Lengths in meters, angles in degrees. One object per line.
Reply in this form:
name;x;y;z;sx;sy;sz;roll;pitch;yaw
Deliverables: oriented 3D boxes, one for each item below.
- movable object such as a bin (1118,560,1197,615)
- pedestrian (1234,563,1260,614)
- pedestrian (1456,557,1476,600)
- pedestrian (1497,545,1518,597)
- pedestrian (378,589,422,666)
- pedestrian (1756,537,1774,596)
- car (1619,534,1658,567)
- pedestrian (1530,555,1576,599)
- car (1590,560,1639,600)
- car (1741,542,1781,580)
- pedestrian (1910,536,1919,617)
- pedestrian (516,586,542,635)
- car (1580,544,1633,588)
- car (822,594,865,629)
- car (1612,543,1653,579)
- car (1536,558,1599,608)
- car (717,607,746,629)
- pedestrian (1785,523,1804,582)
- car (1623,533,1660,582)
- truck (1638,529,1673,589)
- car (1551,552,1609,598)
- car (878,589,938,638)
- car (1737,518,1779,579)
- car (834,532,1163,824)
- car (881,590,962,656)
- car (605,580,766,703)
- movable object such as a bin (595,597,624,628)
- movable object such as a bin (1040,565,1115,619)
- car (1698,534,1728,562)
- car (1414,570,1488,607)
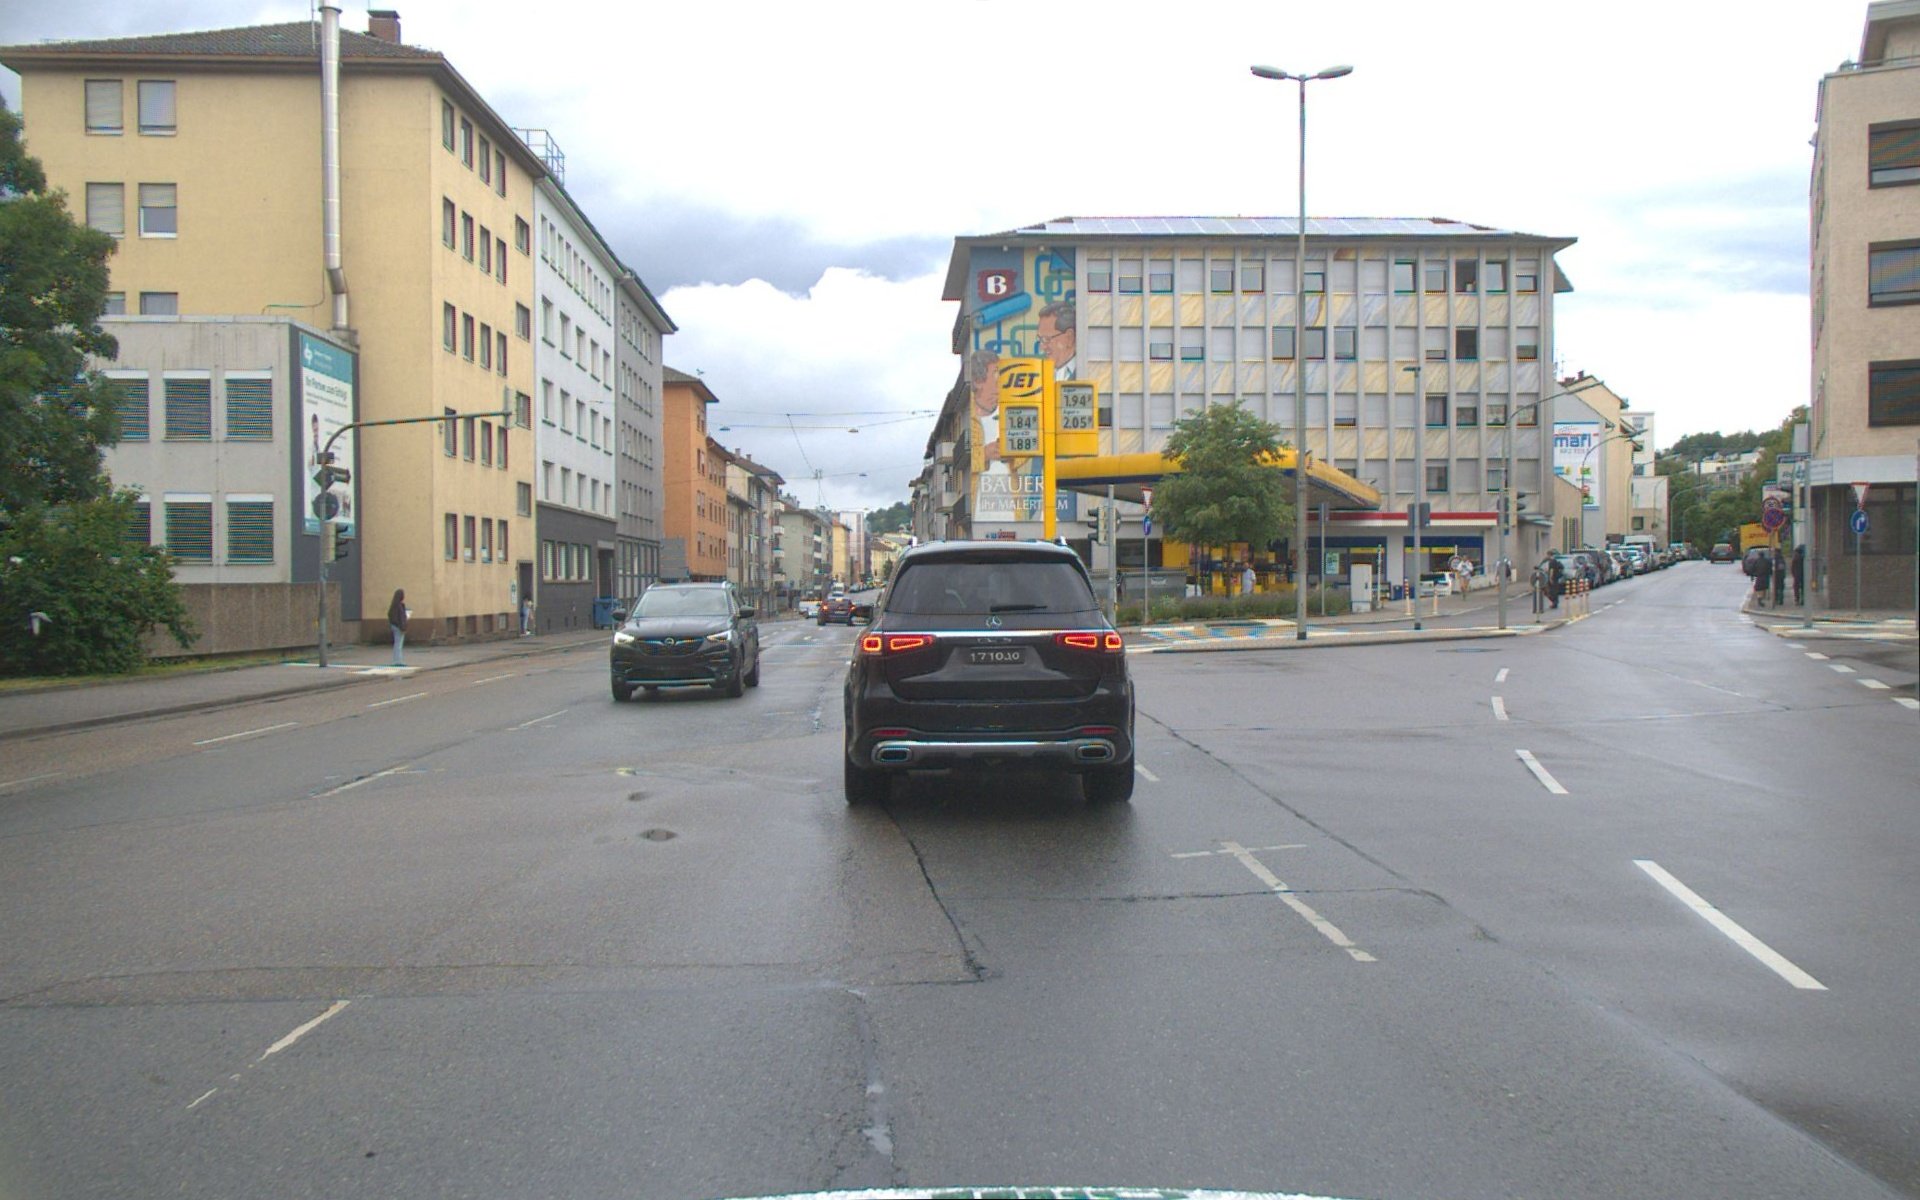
movable object such as a bin;6.111;-0.387;51.363;2.112;1.582;1.772;-2;0;-3
pedestrian;9.329;-0.371;53.784;0.651;1.613;0.847;1;0;-1
pedestrian;18.356;-0.793;59.968;0.570;1.541;0.472;1;-1;-44
pedestrian;18.817;-0.997;56.858;0.663;1.788;0.732;1;0;20
pedestrian;-12.745;0.614;37.669;0.702;1.719;0.811;1;0;-1
pedestrian;24.697;-1.022;50.726;0.469;1.773;0.574;1;0;27
car;41.461;-2.999;100.993;1.954;1.897;4.576;1;0;25
pedestrian;19.062;-0.747;53.167;0.910;1.376;1.096;1;0;-44
car;32.638;-0.979;82.423;1.954;1.897;4.576;1;0;25
car;45.282;-2.193;93.465;1.955;2.049;3.995;1;0;28
pedestrian;21.882;-0.523;36.964;0.840;1.822;0.773;1;0;-7
pedestrian;-15.404;0.376;59.172;0.702;1.719;0.811;1;0;-1
car;30.131;-1.551;77.004;1.954;1.897;4.576;1;0;25
car;-5.844;0.541;83.450;2.035;1.678;4.292;1;0;-3
car;39.004;-2.239;95.884;1.954;1.897;4.576;1;0;25
car;24.486;-0.651;66.586;1.954;1.897;4.576;1;0;25
car;-16.560;1.287;119.994;1.854;1.484;4.545;1;0;-5
pedestrian;25.431;-1.435;50.405;0.469;1.773;0.574;1;0;27
car;44.495;-2.741;107.936;1.954;3.025;4.576;1;0;25
truck;48.112;-2.797;114.409;1.954;3.982;5.481;1;0;25
car;26.757;-1.055;71.262;1.954;1.897;4.576;1;0;25
car;-1.916;0.462;60.048;2.035;1.678;4.292;1;0;-3
car;51.250;-3.258;106.239;2.330;3.752;4.989;1;0;26
car;0.120;0.484;12.643;2.035;1.796;4.608;1;0;-3
car;-1.095;0.585;44.867;2.035;1.678;4.292;1;0;-3
car;-3.915;0.549;24.256;1.771;1.622;4.293;-1;0;-2
movable object such as a bin;-15.604;0.557;73.577;1.055;1.347;1.190;1;0;-3
movable object such as a bin;3.621;-0.251;51.268;2.112;1.602;1.772;-1;0;-3
car;59.027;-4.057;129.629;1.955;2.049;3.995;1;0;28
car;22.259;-0.492;74.891;1.958;1.542;4.405;-2;-2;33
